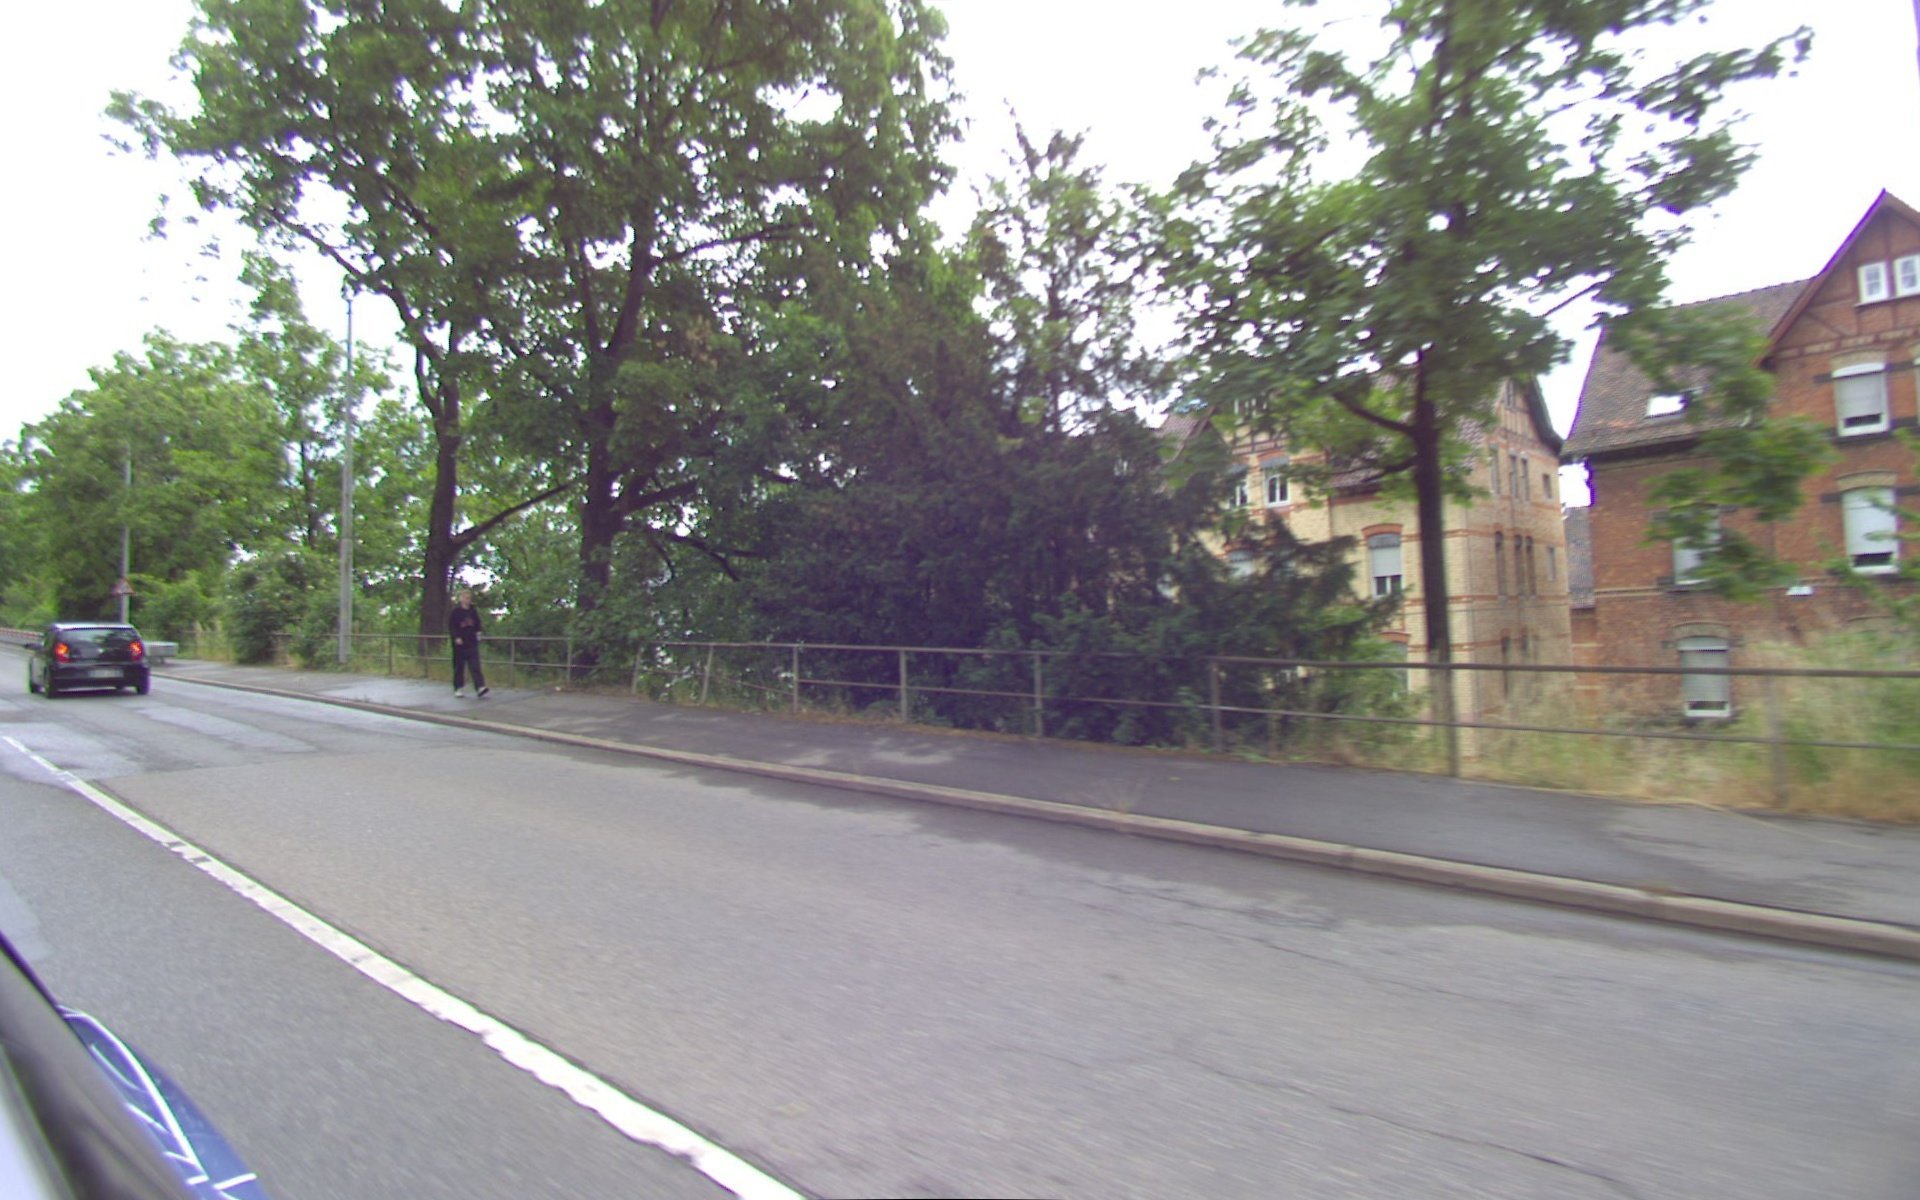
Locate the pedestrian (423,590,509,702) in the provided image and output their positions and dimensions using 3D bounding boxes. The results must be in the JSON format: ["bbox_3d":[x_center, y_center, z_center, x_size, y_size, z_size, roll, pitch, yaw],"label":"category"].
[{"bbox_3d":[-8.326,0.756,17.056,1.207,1.787,0.781,-2,2,39],"label":"pedestrian"}]

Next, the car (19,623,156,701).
[{"bbox_3d":[-17.988,1.208,20.809,3.687,1.458,1.651,-1,-2,42],"label":"car"}]
